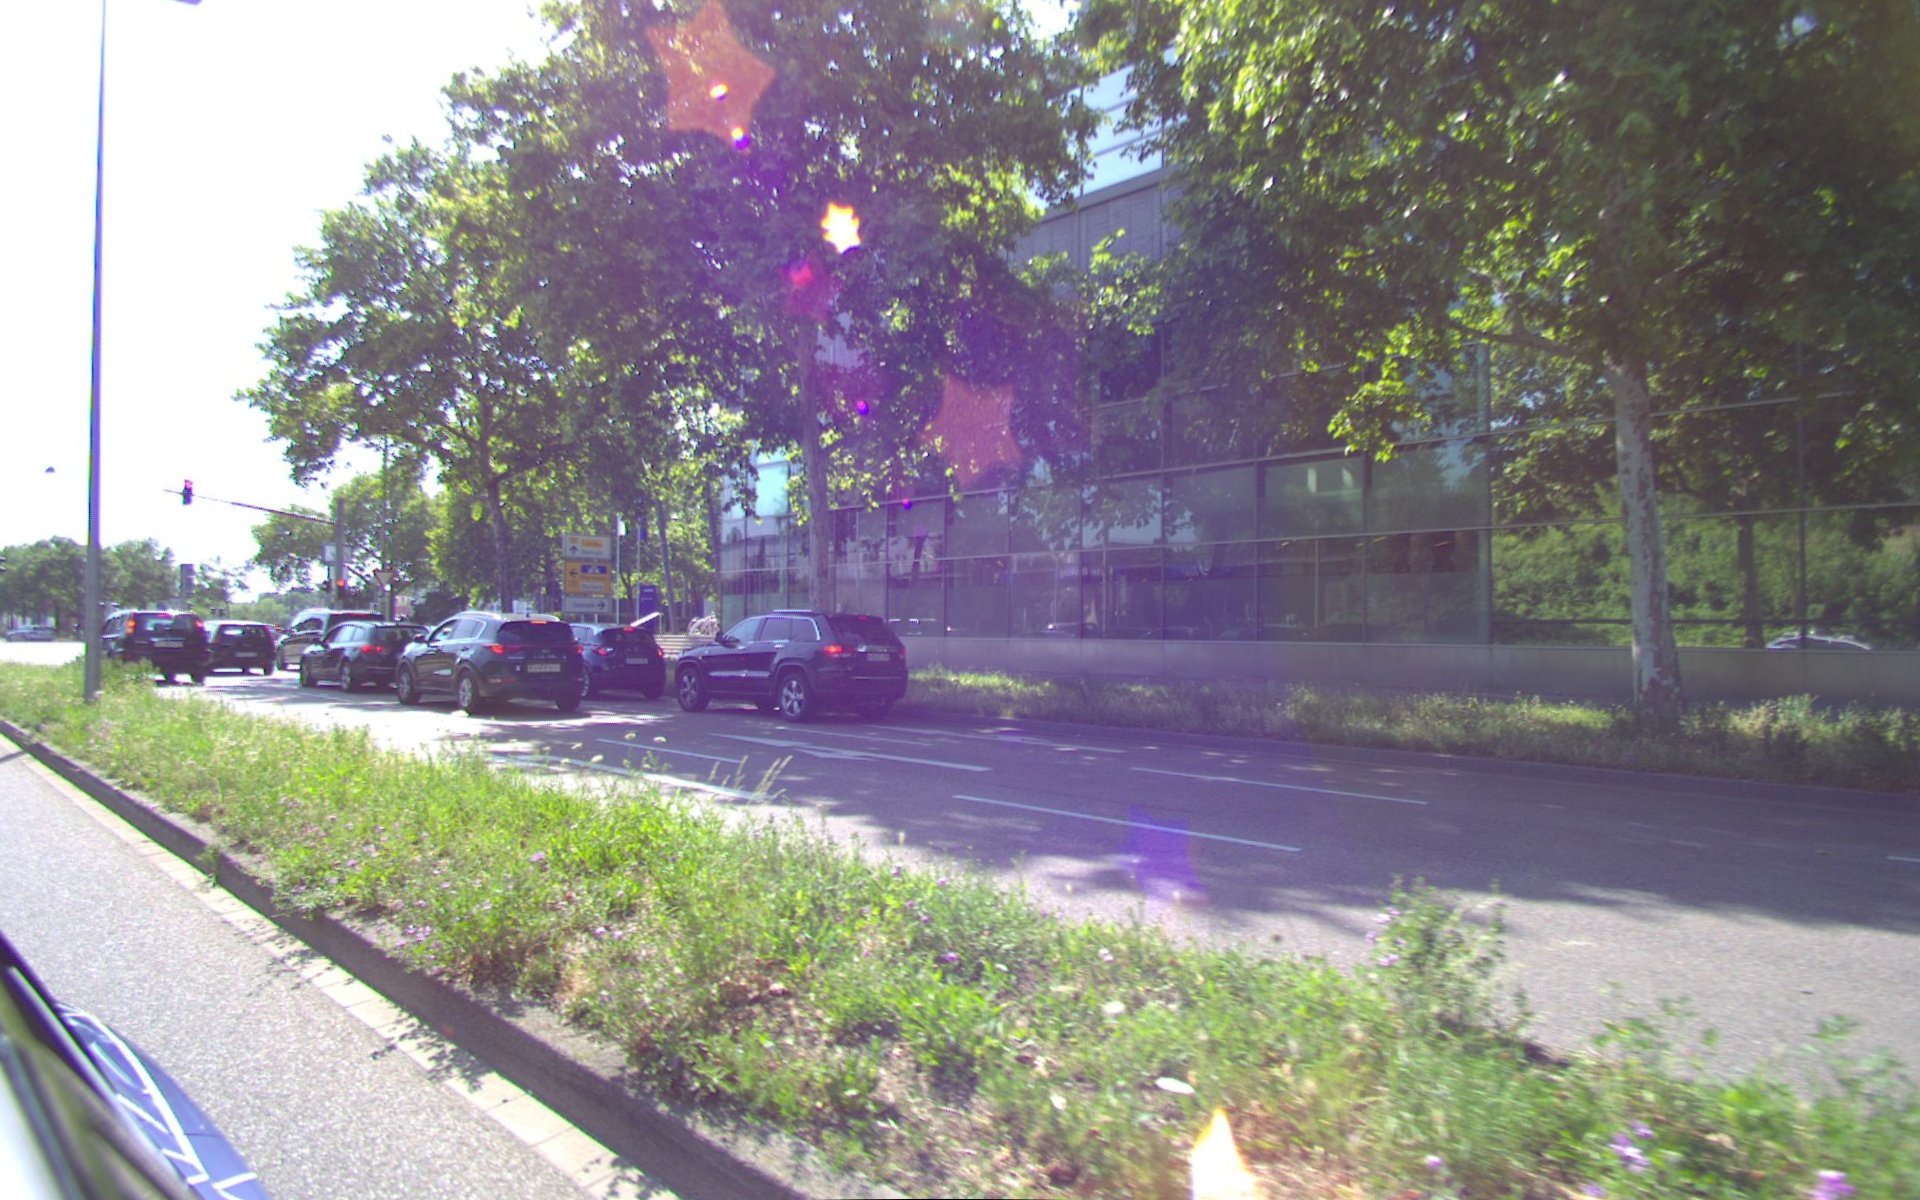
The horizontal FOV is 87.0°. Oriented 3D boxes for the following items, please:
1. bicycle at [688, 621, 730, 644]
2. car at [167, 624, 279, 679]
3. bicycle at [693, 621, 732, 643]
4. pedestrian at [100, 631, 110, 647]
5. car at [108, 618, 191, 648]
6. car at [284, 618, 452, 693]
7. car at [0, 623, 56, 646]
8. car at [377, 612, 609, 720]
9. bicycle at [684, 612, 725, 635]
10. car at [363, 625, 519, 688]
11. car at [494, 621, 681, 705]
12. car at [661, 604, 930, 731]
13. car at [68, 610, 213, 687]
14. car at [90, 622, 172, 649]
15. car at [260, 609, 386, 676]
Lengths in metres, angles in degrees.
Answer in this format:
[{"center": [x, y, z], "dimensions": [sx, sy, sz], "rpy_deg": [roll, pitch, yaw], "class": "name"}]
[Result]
[{"center": [-12.435, 1.604, 50.129], "dimensions": [1.861, 1.119, 0.738], "rpy_deg": [0, -2, 3], "class": "bicycle"}, {"center": [-21.262, 1.448, 29.162], "dimensions": [3.955, 1.487, 1.743], "rpy_deg": [-2, -3, 41], "class": "car"}, {"center": [-12.451, 1.599, 50.962], "dimensions": [1.776, 1.119, 0.739], "rpy_deg": [0, -2, 3], "class": "bicycle"}, {"center": [-82.523, 3.734, 97.624], "dimensions": [0.879, 1.536, 0.571], "rpy_deg": [-2, -3, 40], "class": "pedestrian"}, {"center": [-47.995, 1.936, 60.024], "dimensions": [1.967, 1.722, 4.440], "rpy_deg": [0, -2, -10], "class": "car"}, {"center": [-12.996, 1.177, 22.113], "dimensions": [4.515, 1.473, 1.816], "rpy_deg": [-1, -4, 42], "class": "car"}, {"center": [-77.280, 2.881, 83.623], "dimensions": [5.133, 1.737, 1.983], "rpy_deg": [-3, -3, 25], "class": "car"}, {"center": [-8.162, 1.085, 17.511], "dimensions": [4.493, 1.623, 1.973], "rpy_deg": [-2, -3, 41], "class": "car"}, {"center": [-12.461, 1.153, 49.343], "dimensions": [1.776, 1.119, 0.739], "rpy_deg": [0, -2, 3], "class": "bicycle"}, {"center": [-13.480, 1.414, 26.136], "dimensions": [5.002, 1.460, 1.871], "rpy_deg": [-1, -4, 42], "class": "car"}, {"center": [-8.039, 1.288, 21.649], "dimensions": [4.444, 1.603, 1.867], "rpy_deg": [-1, -4, 42], "class": "car"}, {"center": [-2.876, 1.074, 17.103], "dimensions": [4.649, 1.849, 1.973], "rpy_deg": [-2, -3, 41], "class": "car"}, {"center": [-19.190, 1.098, 23.635], "dimensions": [4.487, 1.627, 1.789], "rpy_deg": [-2, -3, 40], "class": "car"}, {"center": [-53.995, 2.314, 66.035], "dimensions": [1.752, 1.641, 3.989], "rpy_deg": [0, -2, 8], "class": "car"}, {"center": [-20.027, 1.355, 31.734], "dimensions": [5.225, 1.934, 1.918], "rpy_deg": [-3, -3, 41], "class": "car"}]
